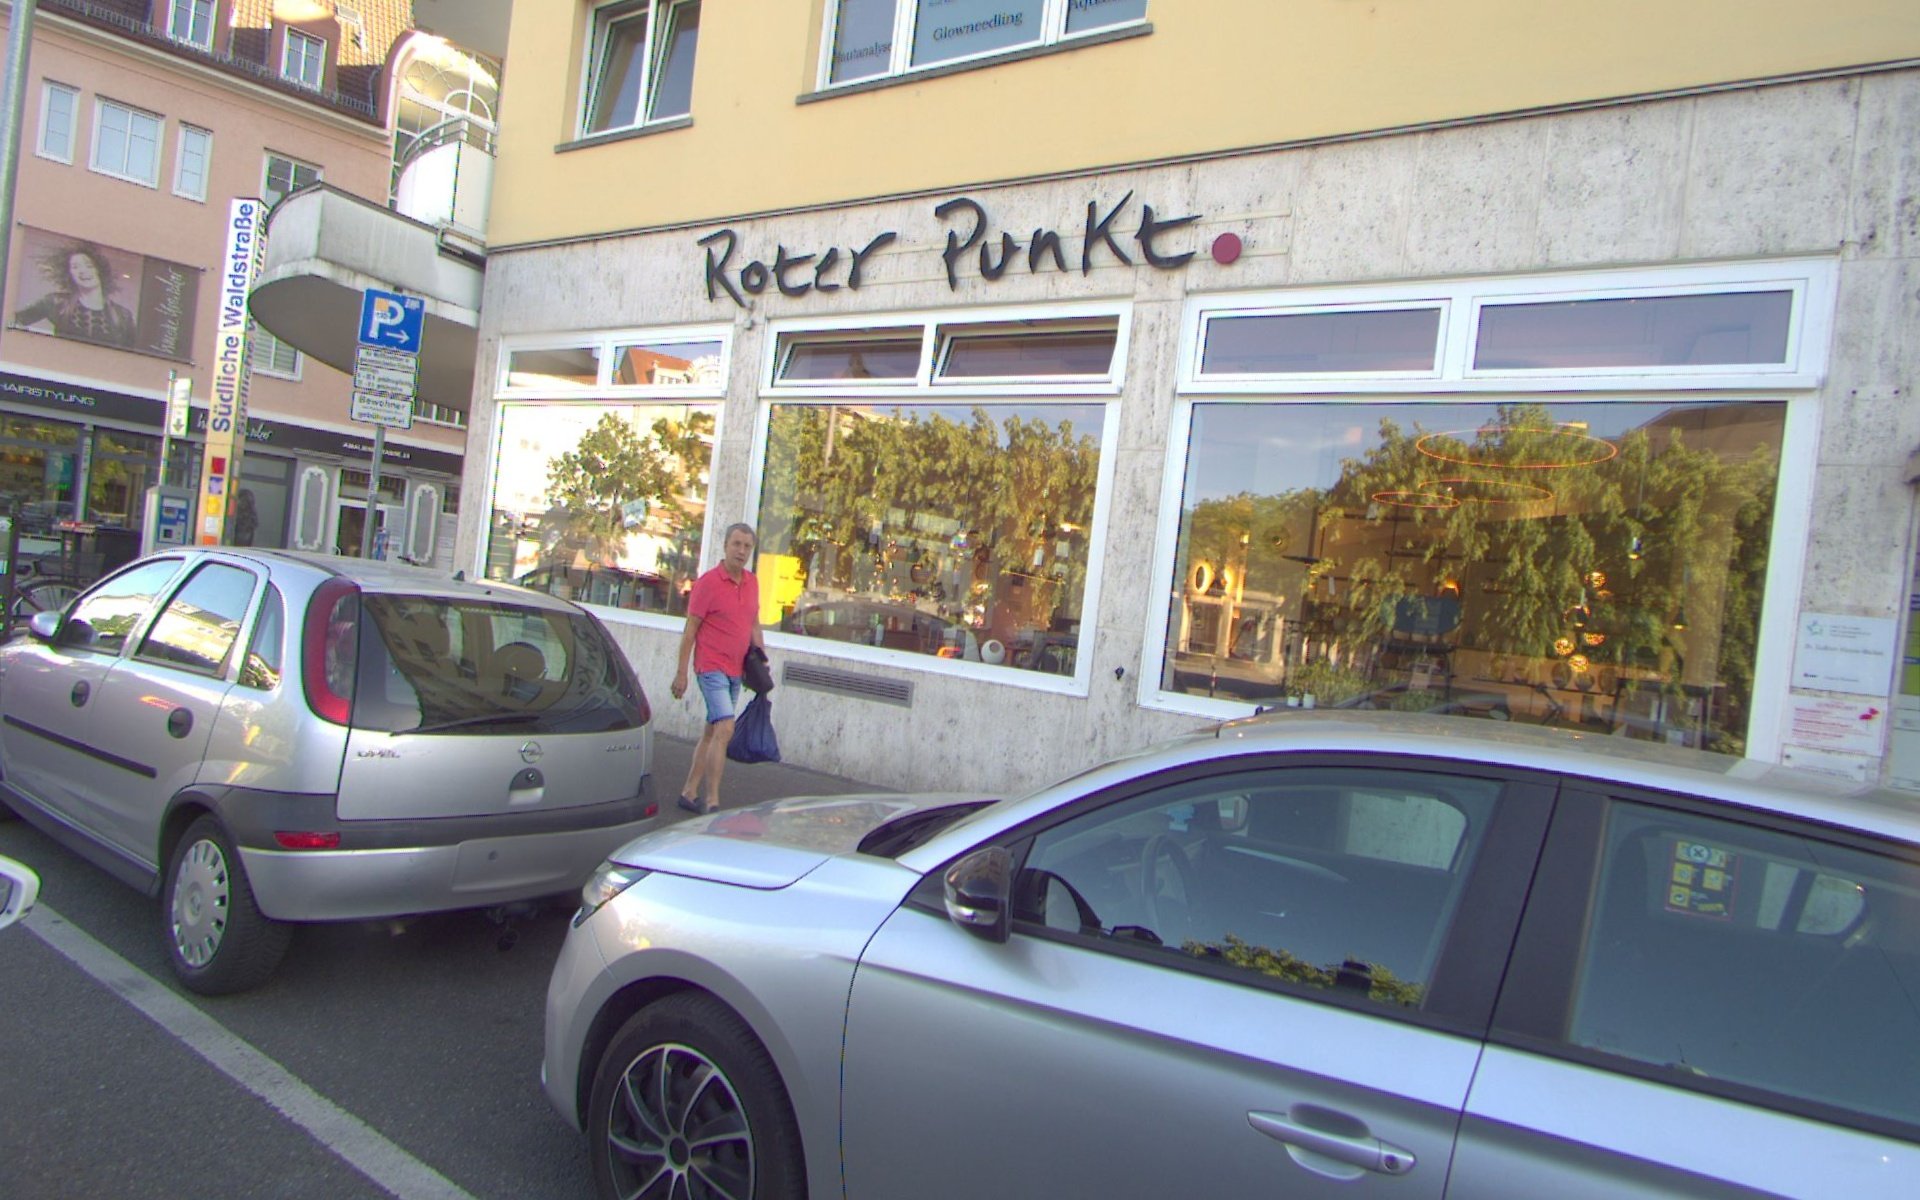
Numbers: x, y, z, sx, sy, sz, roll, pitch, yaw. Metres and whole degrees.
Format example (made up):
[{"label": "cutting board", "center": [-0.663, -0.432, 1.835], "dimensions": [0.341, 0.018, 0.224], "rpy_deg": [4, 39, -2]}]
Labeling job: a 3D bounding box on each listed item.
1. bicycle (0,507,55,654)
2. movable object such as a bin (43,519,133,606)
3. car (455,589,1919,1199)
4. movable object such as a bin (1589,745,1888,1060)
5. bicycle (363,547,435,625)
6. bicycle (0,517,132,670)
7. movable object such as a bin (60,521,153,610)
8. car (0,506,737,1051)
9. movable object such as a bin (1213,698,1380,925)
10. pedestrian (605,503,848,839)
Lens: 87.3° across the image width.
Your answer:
[{"label": "bicycle", "center": [-9.108, -0.238, 8.703], "dimensions": [0.778, 1.284, 1.721], "rpy_deg": [7, 1, 37]}, {"label": "movable object such as a bin", "center": [-12.435, -0.529, 14.351], "dimensions": [0.617, 1.105, 0.734], "rpy_deg": [6, -1, 34]}, {"label": "car", "center": [0.781, 0.925, 2.311], "dimensions": [3.643, 1.415, 1.653], "rpy_deg": [7, -1, 30]}, {"label": "movable object such as a bin", "center": [3.407, 1.268, 4.509], "dimensions": [0.879, 1.066, 0.751], "rpy_deg": [7, 0, 32]}, {"label": "bicycle", "center": [-10.041, -0.271, 17.976], "dimensions": [0.656, 1.213, 2.187], "rpy_deg": [7, -1, -39]}, {"label": "bicycle", "center": [-8.103, -0.086, 8.230], "dimensions": [0.681, 1.208, 1.885], "rpy_deg": [8, 1, 37]}, {"label": "movable object such as a bin", "center": [-11.899, -0.471, 14.030], "dimensions": [0.617, 1.105, 0.754], "rpy_deg": [6, -1, 34]}, {"label": "car", "center": [-2.939, 0.478, 4.463], "dimensions": [3.583, 1.397, 1.616], "rpy_deg": [7, -2, 32]}, {"label": "movable object such as a bin", "center": [1.850, 1.097, 5.486], "dimensions": [0.592, 1.041, 0.811], "rpy_deg": [7, 0, 32]}, {"label": "pedestrian", "center": [-1.417, 0.385, 6.095], "dimensions": [0.994, 1.807, 0.862], "rpy_deg": [7, 2, 40]}]
